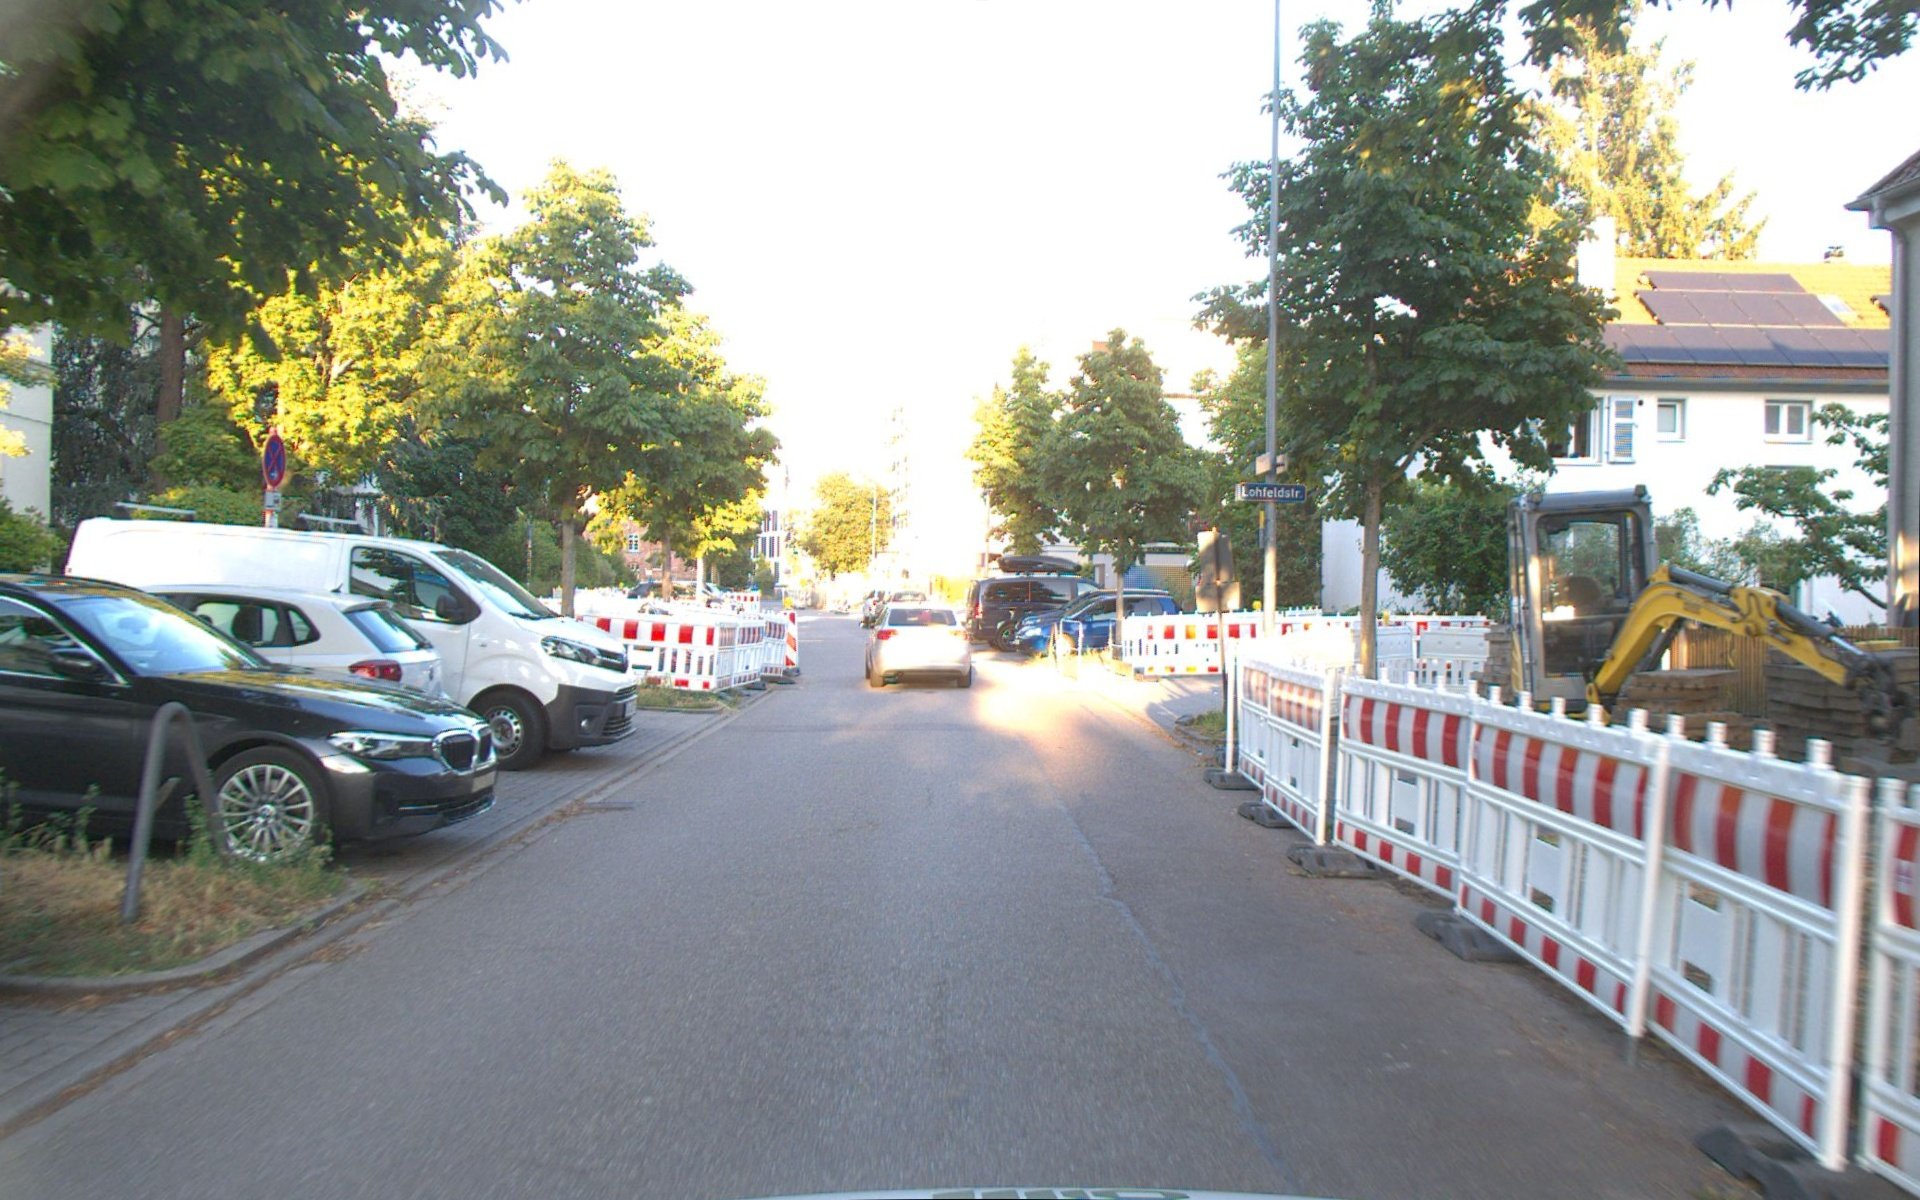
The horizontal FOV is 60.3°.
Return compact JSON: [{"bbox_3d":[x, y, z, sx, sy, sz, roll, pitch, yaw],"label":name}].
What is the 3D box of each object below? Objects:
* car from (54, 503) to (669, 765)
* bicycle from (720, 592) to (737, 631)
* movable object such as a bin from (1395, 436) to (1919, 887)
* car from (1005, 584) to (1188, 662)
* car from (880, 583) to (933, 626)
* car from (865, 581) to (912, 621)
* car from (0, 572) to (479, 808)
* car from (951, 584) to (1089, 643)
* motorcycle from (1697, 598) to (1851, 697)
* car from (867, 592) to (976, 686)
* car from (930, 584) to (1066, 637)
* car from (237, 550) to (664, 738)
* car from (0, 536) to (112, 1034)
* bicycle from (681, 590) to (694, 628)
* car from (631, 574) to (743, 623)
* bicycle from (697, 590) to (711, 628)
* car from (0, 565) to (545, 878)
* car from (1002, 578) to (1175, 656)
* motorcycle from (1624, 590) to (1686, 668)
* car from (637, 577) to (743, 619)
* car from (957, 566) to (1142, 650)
[{"bbox_3d":[-5.093,0.277,14.644,4.676,2.049,1.999,1,0,-2],"label":"car"},{"bbox_3d":[-7.783,0.362,55.508,0.399,1.248,1.981,1,1,-12],"label":"bicycle"},{"bbox_3d":[5.314,0.325,11.713,2.578,2.444,5.190,1,1,-7],"label":"movable object such as a bin"},{"bbox_3d":[3.170,0.526,38.652,3.917,1.680,1.759,1,1,-13],"label":"car"},{"bbox_3d":[-2.001,0.147,61.284,1.697,1.509,3.553,1,1,-6],"label":"car"},{"bbox_3d":[-3.116,0.027,71.474,1.774,1.641,3.576,1,1,-6],"label":"car"},{"bbox_3d":[-5.427,0.590,11.965,3.344,1.509,1.758,1,1,0],"label":"car"},{"bbox_3d":[1.833,0.406,51.065,3.870,1.677,1.970,1,1,-13],"label":"car"},{"bbox_3d":[12.592,0.710,25.635,0.593,1.441,2.047,1,1,-44],"label":"motorcycle"},{"bbox_3d":[-0.690,0.622,29.020,1.771,1.514,3.999,-1,0,-2],"label":"car"},{"bbox_3d":[1.215,0.330,53.457,4.077,1.599,1.792,1,1,-13],"label":"car"},{"bbox_3d":[-5.189,0.431,17.285,3.908,1.783,1.798,1,0,-4],"label":"car"},{"bbox_3d":[-5.013,0.554,5.014,3.910,1.606,1.799,1,1,-6],"label":"car"},{"bbox_3d":[-9.159,0.286,55.541,0.398,1.248,1.982,1,1,-10],"label":"bicycle"},{"bbox_3d":[-9.897,-0.065,60.072,3.914,1.653,1.996,1,1,-10],"label":"car"},{"bbox_3d":[-8.599,0.295,55.502,0.398,1.248,1.982,1,1,-10],"label":"bicycle"},{"bbox_3d":[-4.952,0.578,9.367,4.676,1.496,1.880,3,0,-2],"label":"car"},{"bbox_3d":[3.155,0.401,41.155,3.914,1.799,1.996,1,1,-10],"label":"car"},{"bbox_3d":[10.524,0.419,25.020,0.569,1.125,1.842,2,1,32],"label":"motorcycle"},{"bbox_3d":[-10.182,-0.082,62.483,3.914,1.506,1.996,0,1,-10],"label":"car"},{"bbox_3d":[2.326,0.191,43.596,4.474,2.058,2.096,1,0,-10],"label":"car"}]
